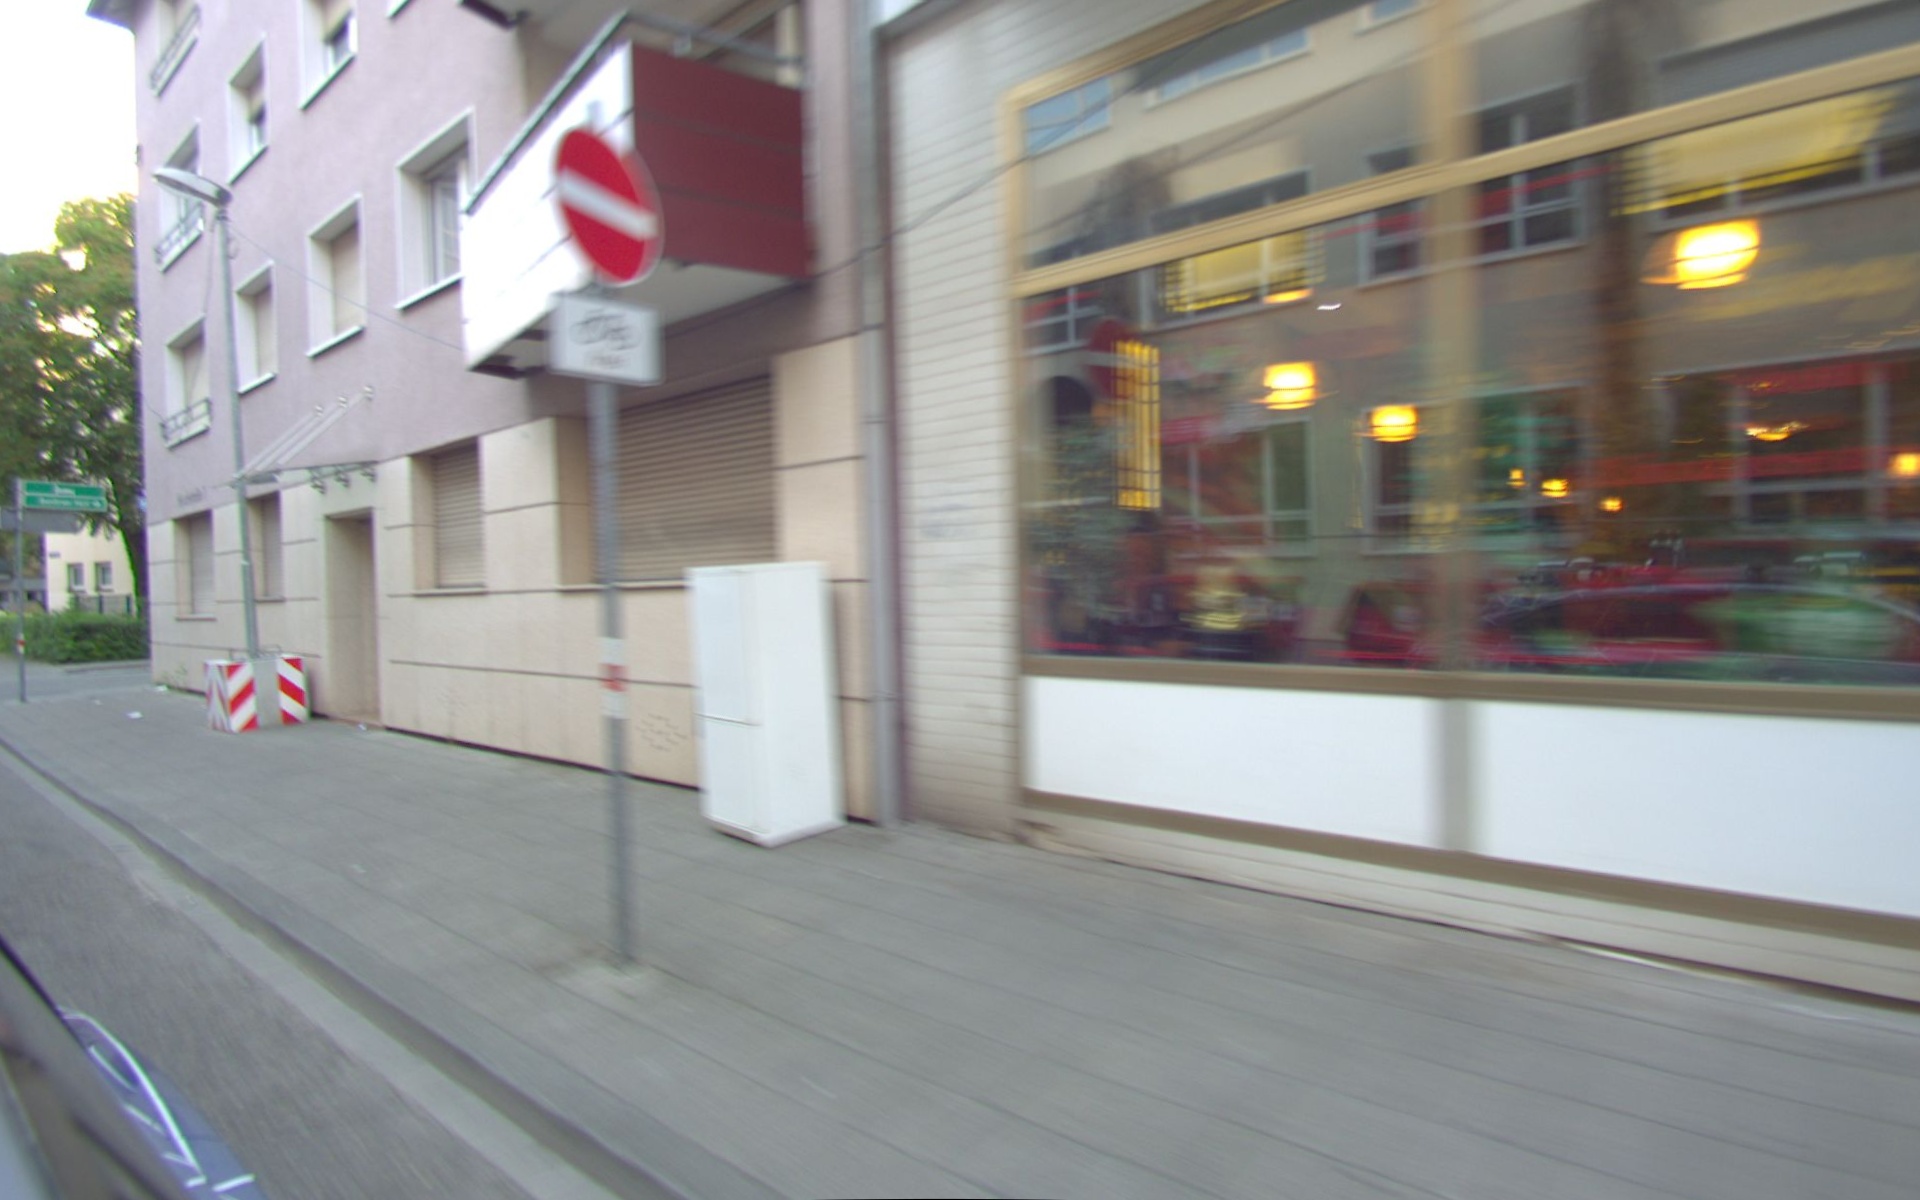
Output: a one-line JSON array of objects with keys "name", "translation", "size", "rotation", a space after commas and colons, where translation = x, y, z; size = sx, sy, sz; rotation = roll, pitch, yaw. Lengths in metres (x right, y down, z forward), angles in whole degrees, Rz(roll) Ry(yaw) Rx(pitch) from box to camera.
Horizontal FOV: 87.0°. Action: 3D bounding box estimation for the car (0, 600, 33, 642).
[{"name": "car", "translation": [-54.250, 1.136, 56.329], "size": [4.598, 2.149, 2.024], "rotation": [2, 2, 19]}]
